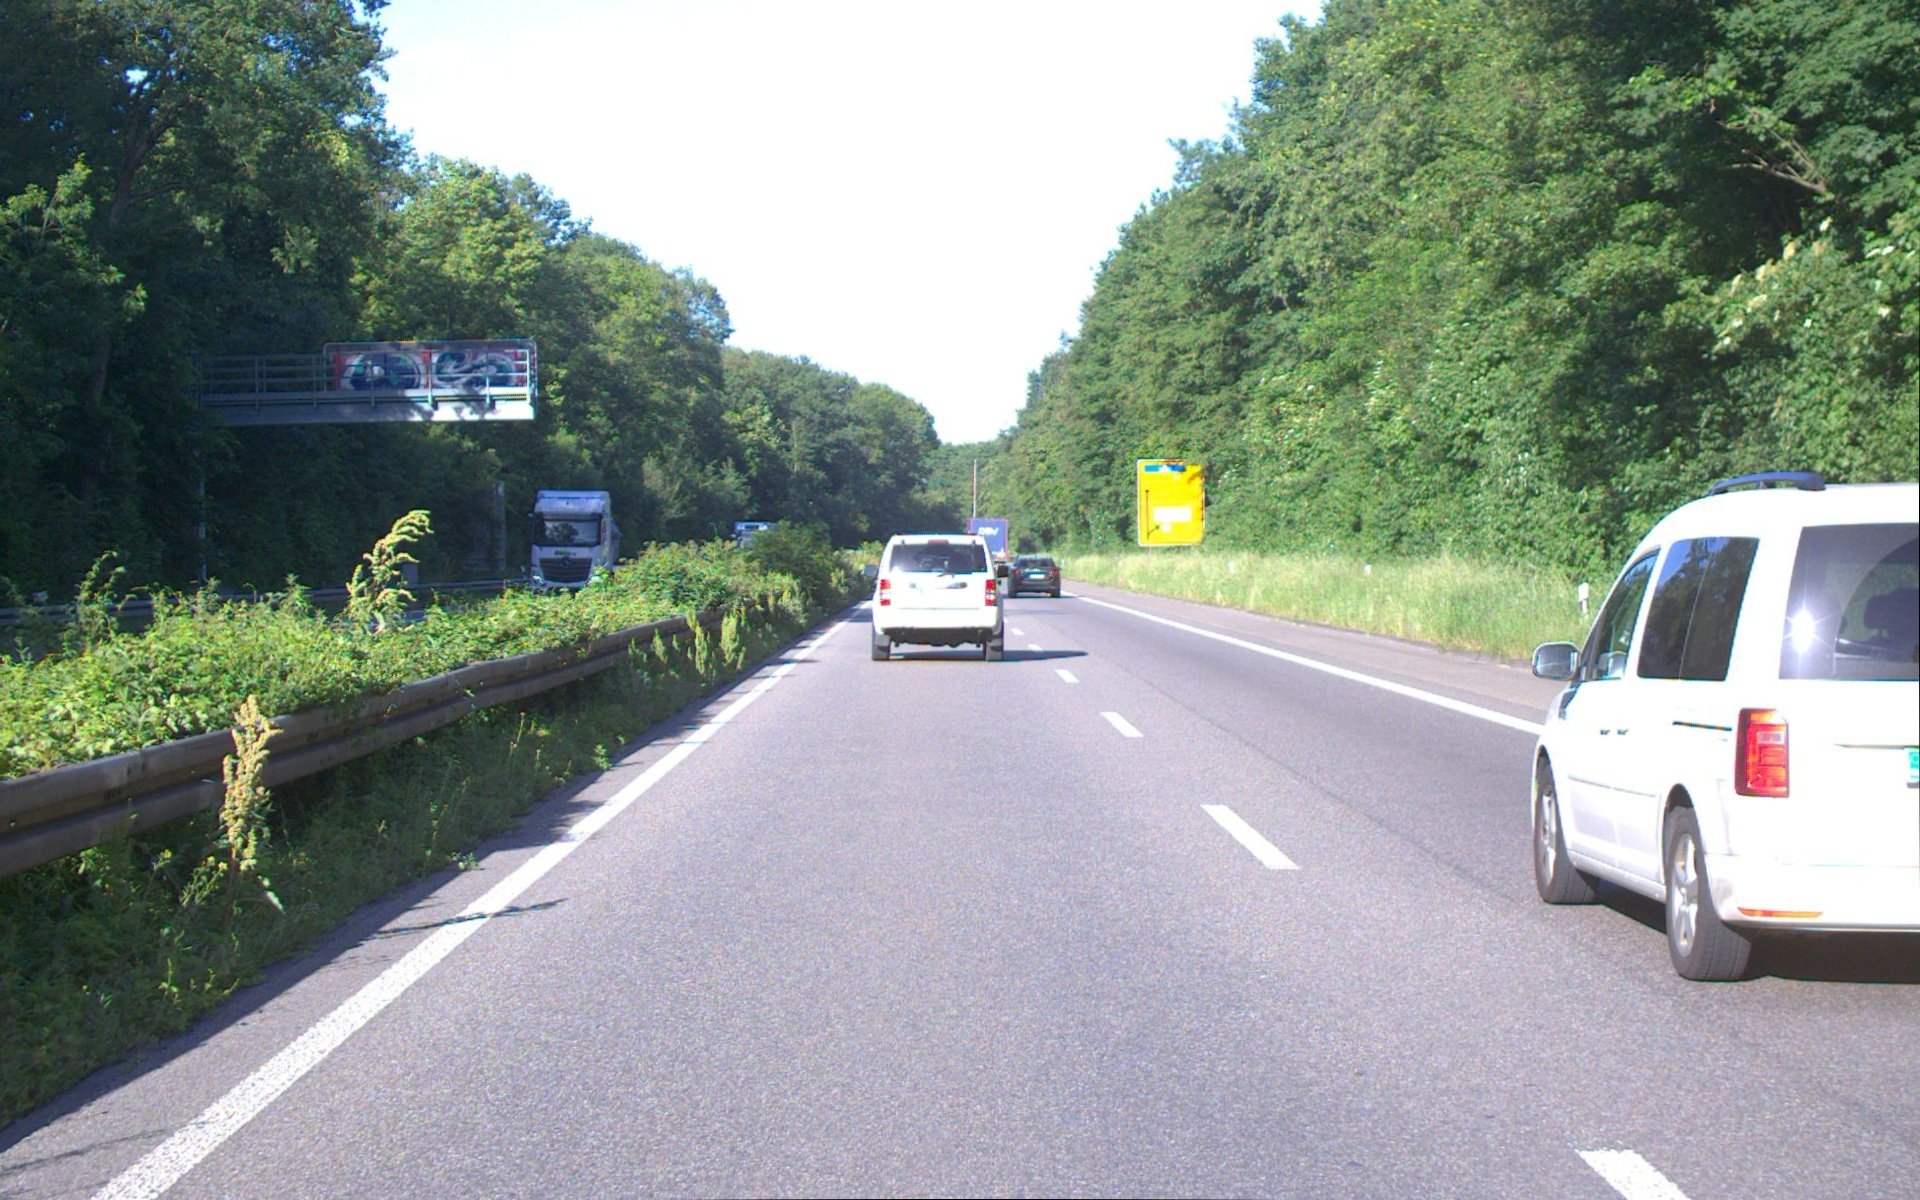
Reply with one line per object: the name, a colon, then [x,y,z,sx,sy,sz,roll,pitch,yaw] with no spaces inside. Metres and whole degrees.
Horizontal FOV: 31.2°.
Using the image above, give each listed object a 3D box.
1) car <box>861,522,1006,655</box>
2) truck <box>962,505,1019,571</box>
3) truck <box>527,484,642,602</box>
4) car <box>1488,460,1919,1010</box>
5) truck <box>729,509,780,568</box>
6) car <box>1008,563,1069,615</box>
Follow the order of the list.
car: [-0.396,-0.170,49.103,1.951,1.776,4.588,1,0,-1]
truck: [2.054,-4.178,234.445,3.734,4.329,9.304,1,0,0]
truck: [-13.184,-1.956,121.644,2.769,3.942,11.467,1,0,0]
car: [3.397,0.443,13.664,1.799,1.807,4.588,1,0,-1]
truck: [-14.209,-4.257,238.036,3.228,3.999,5.677,1,1,0]
car: [2.784,-0.407,122.724,1.951,1.776,4.588,1,0,-1]
